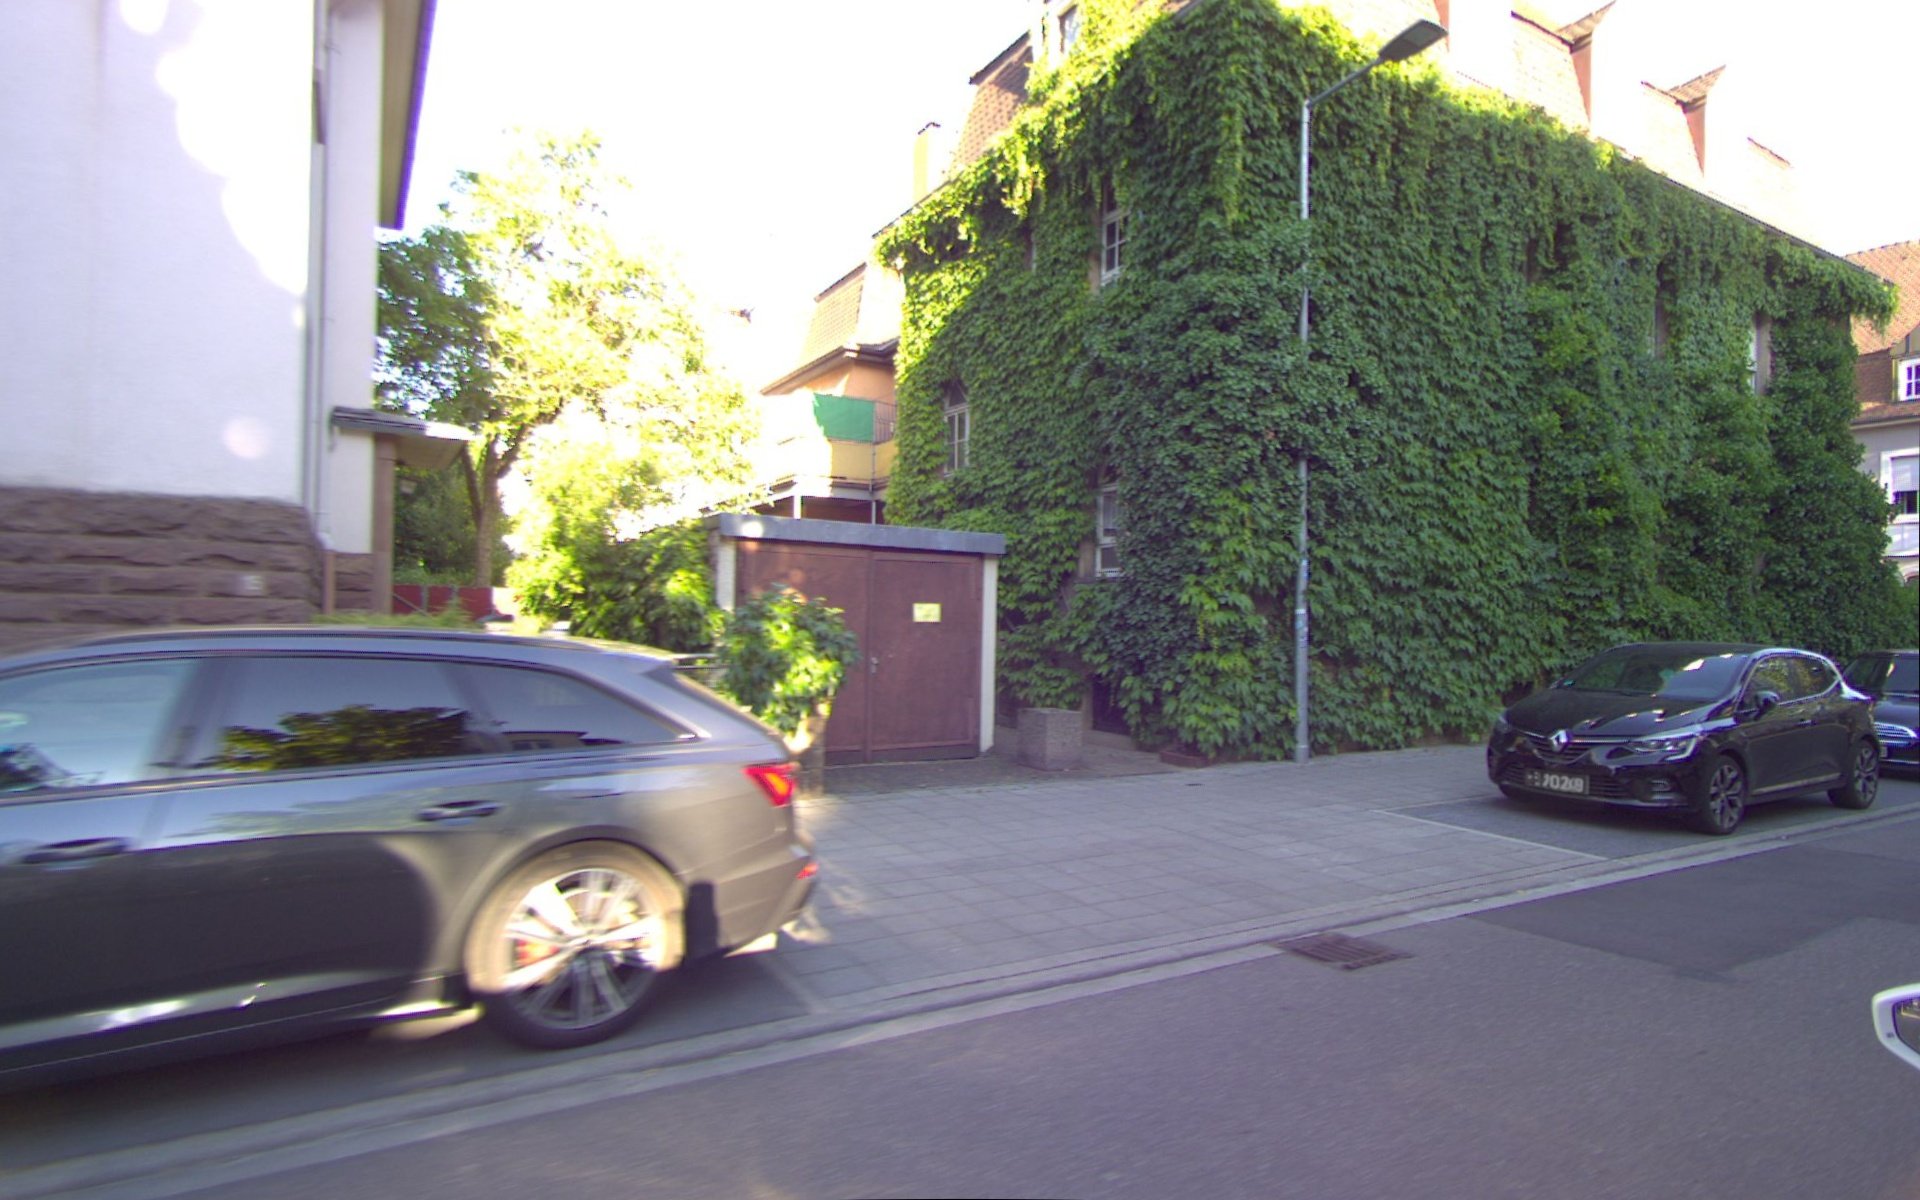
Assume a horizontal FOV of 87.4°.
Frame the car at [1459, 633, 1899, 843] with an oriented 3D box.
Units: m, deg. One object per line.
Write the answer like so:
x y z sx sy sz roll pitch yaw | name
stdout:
6.444 1.061 8.915 4.050 1.439 1.642 2 0 -30 | car

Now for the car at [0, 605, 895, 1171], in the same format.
-2.740 0.785 3.615 4.724 1.481 1.783 2 0 -32 | car

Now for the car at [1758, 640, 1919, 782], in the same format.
11.141 1.207 11.680 3.676 1.398 1.678 2 0 -30 | car
